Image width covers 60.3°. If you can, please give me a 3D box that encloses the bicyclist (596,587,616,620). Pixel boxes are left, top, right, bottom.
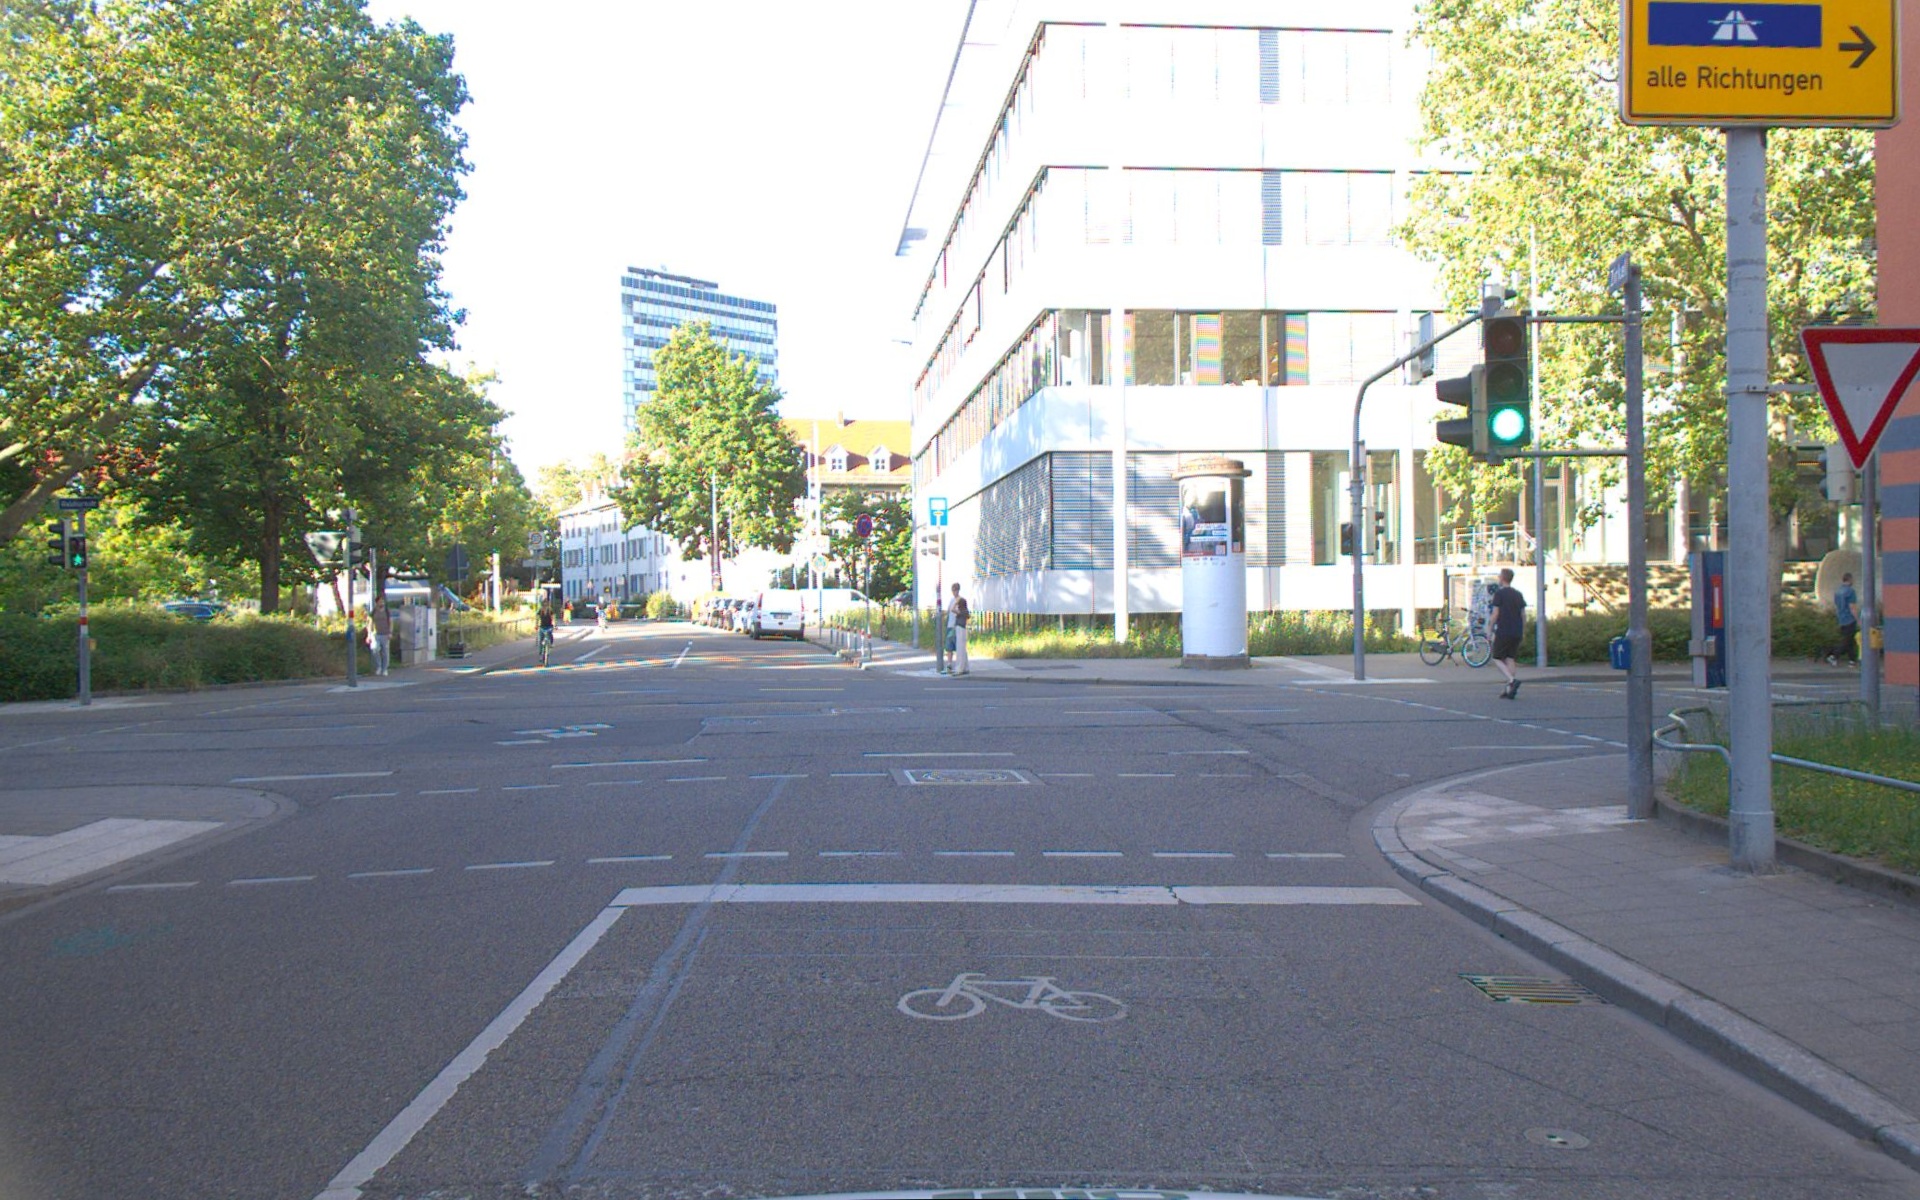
[{"bbox_3d":[-16.802,0.166,78.506,0.850,1.542,1.016,-3,0,-11],"label":"bicyclist"}]

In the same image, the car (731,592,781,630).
[{"bbox_3d":[-9.356,0.478,75.656,1.856,1.583,4.401,0,1,-13],"label":"car"}]

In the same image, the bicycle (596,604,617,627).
[{"bbox_3d":[-16.776,0.742,78.489,0.850,1.027,2.408,-3,0,-10],"label":"bicycle"}]

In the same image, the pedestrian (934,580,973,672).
[{"bbox_3d":[-0.133,0.540,35.134,0.547,1.882,0.678,-4,1,16],"label":"pedestrian"}]

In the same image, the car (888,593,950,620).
[{"bbox_3d":[-2.510,0.397,101.580,3.501,1.573,1.550,-1,0,-19],"label":"car"}]

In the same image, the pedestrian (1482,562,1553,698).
[{"bbox_3d":[7.814,0.408,23.213,0.692,1.872,0.837,1,0,0],"label":"pedestrian"}]

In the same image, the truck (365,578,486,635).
[{"bbox_3d":[-23.360,0.263,72.489,4.740,2.441,2.083,0,0,-10],"label":"truck"}]

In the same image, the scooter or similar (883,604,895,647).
[{"bbox_3d":[-2.416,0.864,55.895,0.324,1.449,1.333,1,-1,-5],"label":"scooter or similar"}]

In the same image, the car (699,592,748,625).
[{"bbox_3d":[-12.598,0.434,87.999,1.859,1.684,4.393,0,1,-18],"label":"car"}]

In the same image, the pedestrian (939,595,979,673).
[{"bbox_3d":[-0.027,0.702,34.527,0.551,1.567,0.673,-4,1,-18],"label":"pedestrian"}]

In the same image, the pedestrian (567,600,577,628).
[{"bbox_3d":[-22.897,0.843,97.579,0.427,1.636,0.489,-1,0,-26],"label":"pedestrian"}]

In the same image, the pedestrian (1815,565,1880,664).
[{"bbox_3d":[17.067,0.273,31.814,0.819,1.872,0.707,1,0,-10],"label":"pedestrian"}]

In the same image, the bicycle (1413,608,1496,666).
[{"bbox_3d":[9.949,0.736,33.350,0.502,1.067,1.667,-3,3,-34],"label":"bicycle"}]

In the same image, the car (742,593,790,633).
[{"bbox_3d":[-8.271,0.513,70.283,1.854,1.583,4.405,0,1,-9],"label":"car"}]

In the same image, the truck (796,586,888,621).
[{"bbox_3d":[-7.143,0.184,100.401,5.257,2.049,1.989,-1,0,-19],"label":"truck"}]

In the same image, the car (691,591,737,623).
[{"bbox_3d":[-13.829,0.373,92.847,1.859,1.684,4.393,0,1,-18],"label":"car"}]

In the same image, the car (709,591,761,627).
[{"bbox_3d":[-11.309,0.410,82.908,1.859,1.684,4.393,0,1,-18],"label":"car"}]

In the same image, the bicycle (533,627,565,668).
[{"bbox_3d":[-10.545,1.210,42.488,0.604,0.986,1.838,-1,0,-8],"label":"bicycle"}]

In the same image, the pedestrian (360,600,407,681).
[{"bbox_3d":[-12.822,0.886,36.789,0.689,1.753,0.954,-2,0,-4],"label":"pedestrian"}]

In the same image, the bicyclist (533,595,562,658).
[{"bbox_3d":[-10.514,0.673,42.203,0.604,1.559,0.901,-1,0,-8],"label":"bicyclist"}]

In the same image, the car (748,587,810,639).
[{"bbox_3d":[-6.828,0.470,62.078,2.047,1.827,4.405,0,1,-9],"label":"car"}]
